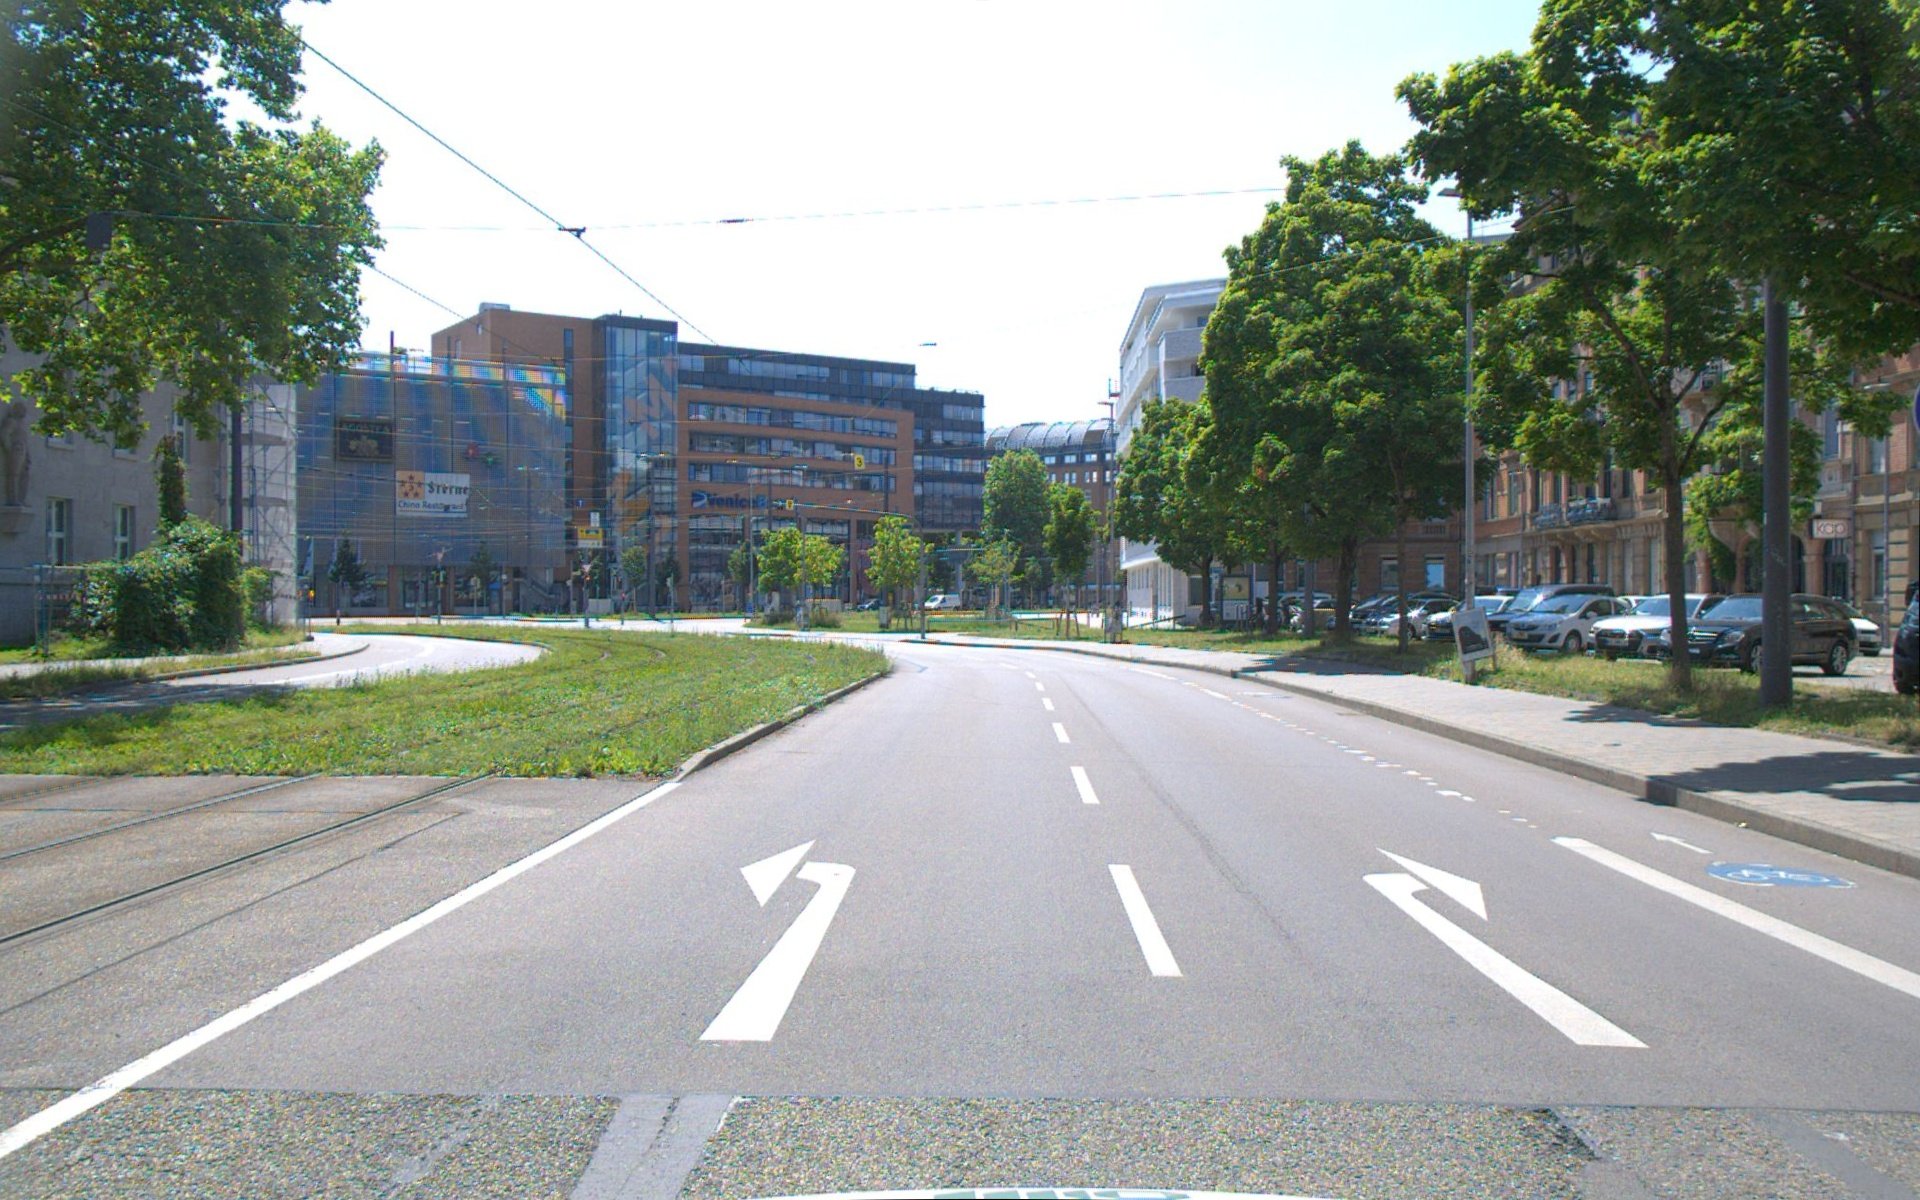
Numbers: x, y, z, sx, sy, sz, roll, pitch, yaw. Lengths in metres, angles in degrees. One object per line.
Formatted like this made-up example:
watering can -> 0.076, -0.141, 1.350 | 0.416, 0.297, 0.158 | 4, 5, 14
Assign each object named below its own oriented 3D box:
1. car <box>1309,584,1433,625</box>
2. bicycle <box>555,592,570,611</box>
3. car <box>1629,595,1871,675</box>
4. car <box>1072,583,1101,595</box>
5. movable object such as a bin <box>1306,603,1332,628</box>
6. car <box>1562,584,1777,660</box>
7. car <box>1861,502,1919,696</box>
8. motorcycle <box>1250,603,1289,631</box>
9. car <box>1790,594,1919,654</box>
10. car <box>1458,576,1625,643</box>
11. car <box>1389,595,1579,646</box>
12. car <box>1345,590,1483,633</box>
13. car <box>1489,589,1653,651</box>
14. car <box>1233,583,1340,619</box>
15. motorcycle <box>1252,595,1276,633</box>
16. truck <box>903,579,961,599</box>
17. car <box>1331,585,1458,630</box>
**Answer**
car -> 14.644, 0.169, 58.898 | 4.278, 1.400, 1.570 | 1, 0, -25
bicycle -> -38.650, 0.157, 160.841 | 0.593, 1.761, 2.233 | 1, 0, -34
car -> 14.564, 0.612, 30.447 | 4.372, 1.362, 1.952 | 1, 0, -31
car -> 19.121, -1.699, 250.456 | 3.915, 1.758, 1.862 | 1, 0, 32
movable object such as a bin -> 14.065, 0.602, 64.813 | 0.965, 0.953, 0.702 | 1, 0, 13
car -> 14.585, 0.440, 33.916 | 4.639, 1.452, 1.948 | 1, 0, -36
car -> 14.833, 0.011, 22.660 | 5.488, 2.503, 2.210 | 1, 0, -36
motorcycle -> 12.518, 0.682, 66.895 | 1.489, 1.140, 0.478 | 1, 0, 1
car -> 23.008, 0.577, 42.262 | 1.742, 1.445, 3.716 | 1, 0, 1
car -> 15.297, 0.260, 43.518 | 3.935, 1.691, 1.957 | 1, 0, -25
car -> 14.458, 0.559, 45.655 | 4.702, 1.336, 2.137 | 1, 0, -21
car -> 14.626, 0.370, 53.301 | 3.929, 1.336, 1.960 | 1, 0, -21
car -> 14.938, 0.480, 40.381 | 3.946, 1.424, 1.695 | 1, 0, -31
car -> 15.281, 0.056, 77.428 | 4.798, 1.629, 1.821 | 1, 0, -26
motorcycle -> 11.681, 0.530, 63.567 | 0.661, 1.438, 1.857 | -1, 0, 3
truck -> -4.175, -1.616, 245.481 | 9.048, 2.858, 1.994 | 1, 0, 34
car -> 14.796, 0.261, 56.347 | 4.029, 1.495, 1.783 | 1, 0, -26
